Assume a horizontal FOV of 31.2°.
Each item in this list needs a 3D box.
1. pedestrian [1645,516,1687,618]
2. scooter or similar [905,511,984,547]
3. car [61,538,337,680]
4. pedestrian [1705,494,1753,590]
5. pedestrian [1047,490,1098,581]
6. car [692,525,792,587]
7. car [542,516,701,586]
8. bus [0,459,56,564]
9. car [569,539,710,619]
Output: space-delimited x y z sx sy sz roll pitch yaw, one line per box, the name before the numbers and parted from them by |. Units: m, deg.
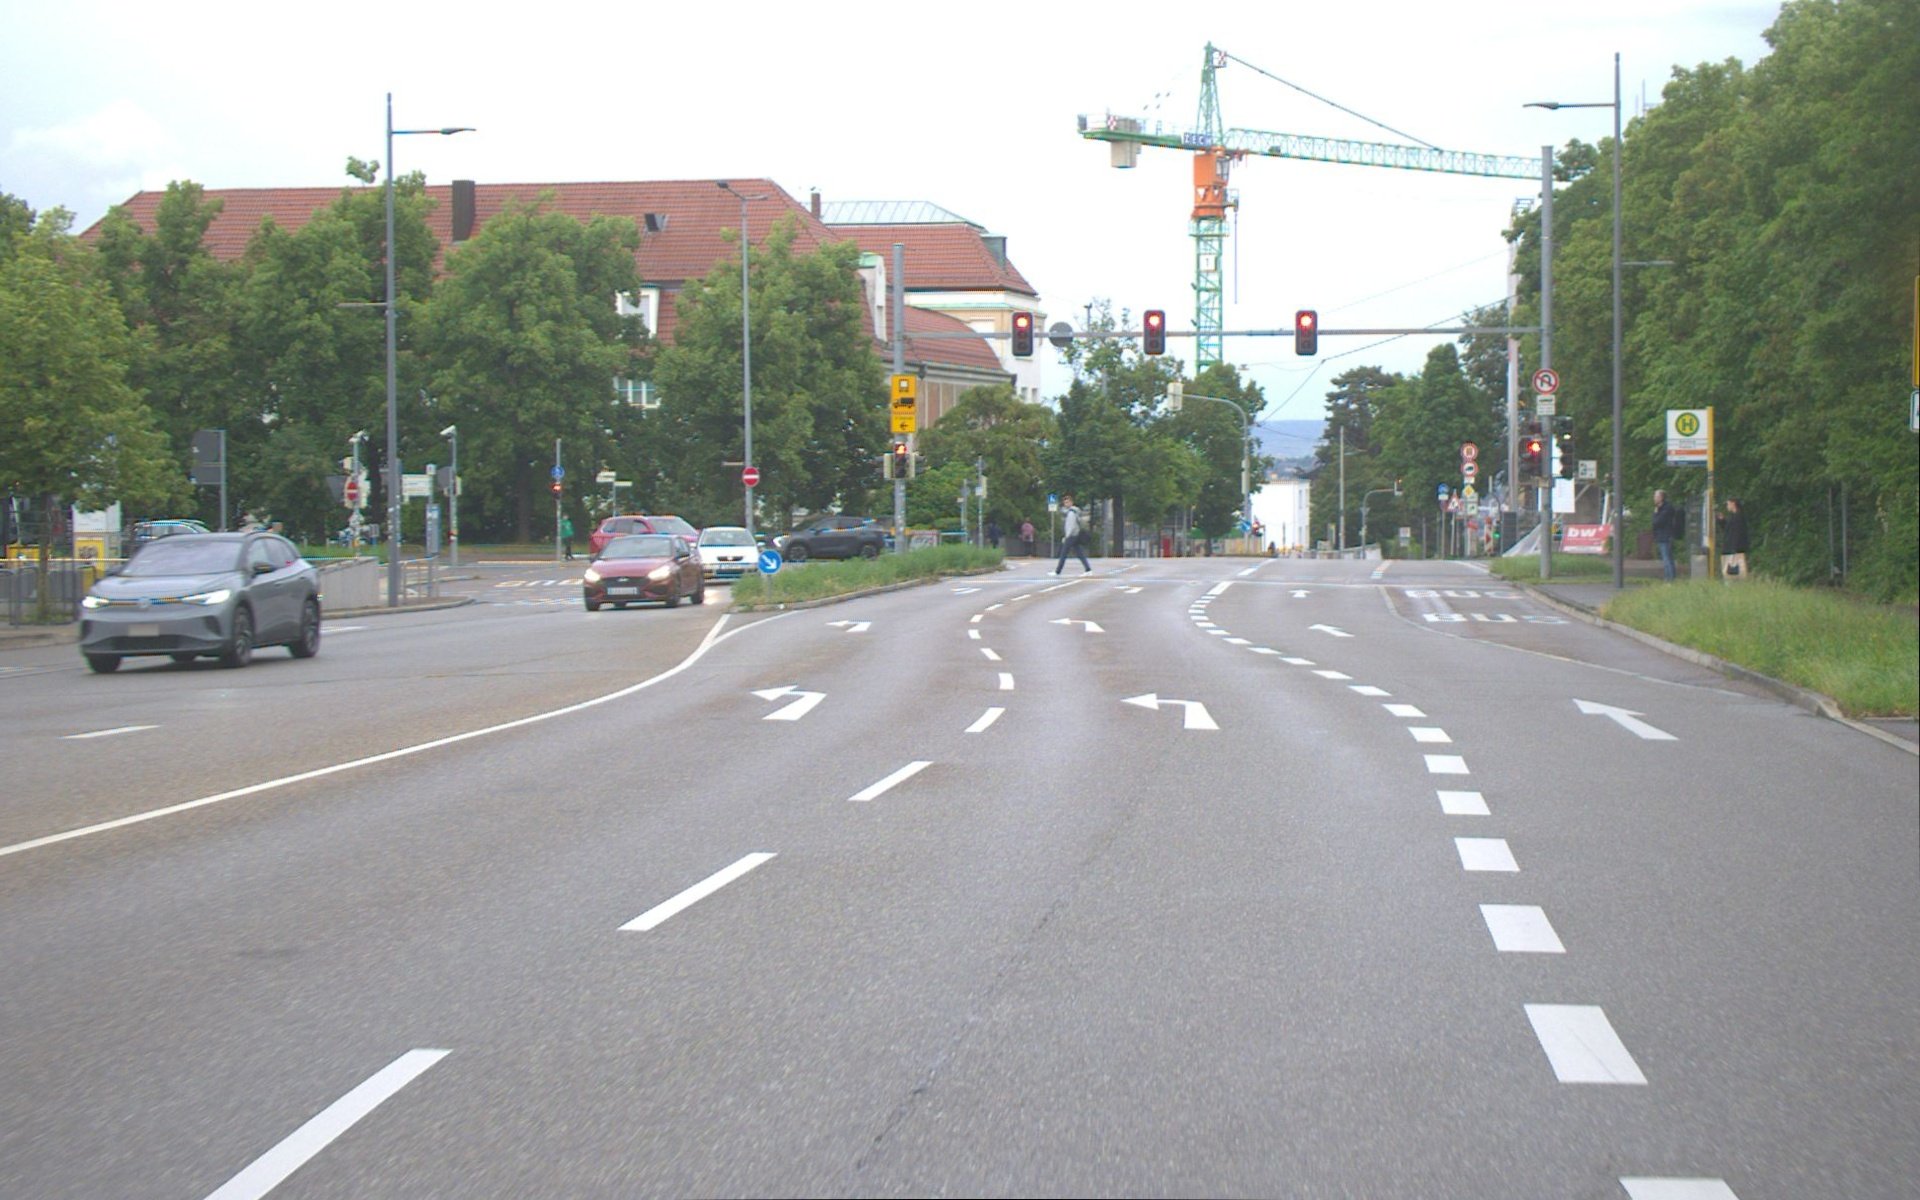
pedestrian | 13.252 -0.625 64.525 0.640 1.894 0.718 0 1 1
scooter or similar | -0.626 -2.882 139.238 3.088 1.435 0.949 0 1 5
car | -9.148 0.087 41.707 1.832 1.567 4.592 -2 0 6
pedestrian | 13.427 -1.015 60.023 0.675 1.652 0.793 0 1 1
pedestrian | 2.572 -1.474 78.493 0.941 2.007 0.847 -3 1 12
car | -5.362 -1.095 84.983 1.763 1.411 3.878 -2 1 6
car | -9.431 -1.365 95.734 3.993 1.910 1.997 1 1 29
bus | -32.570 -2.646 103.931 9.727 3.092 2.897 0 1 8
car | -6.210 -0.433 67.091 1.832 1.411 4.465 -2 1 6
